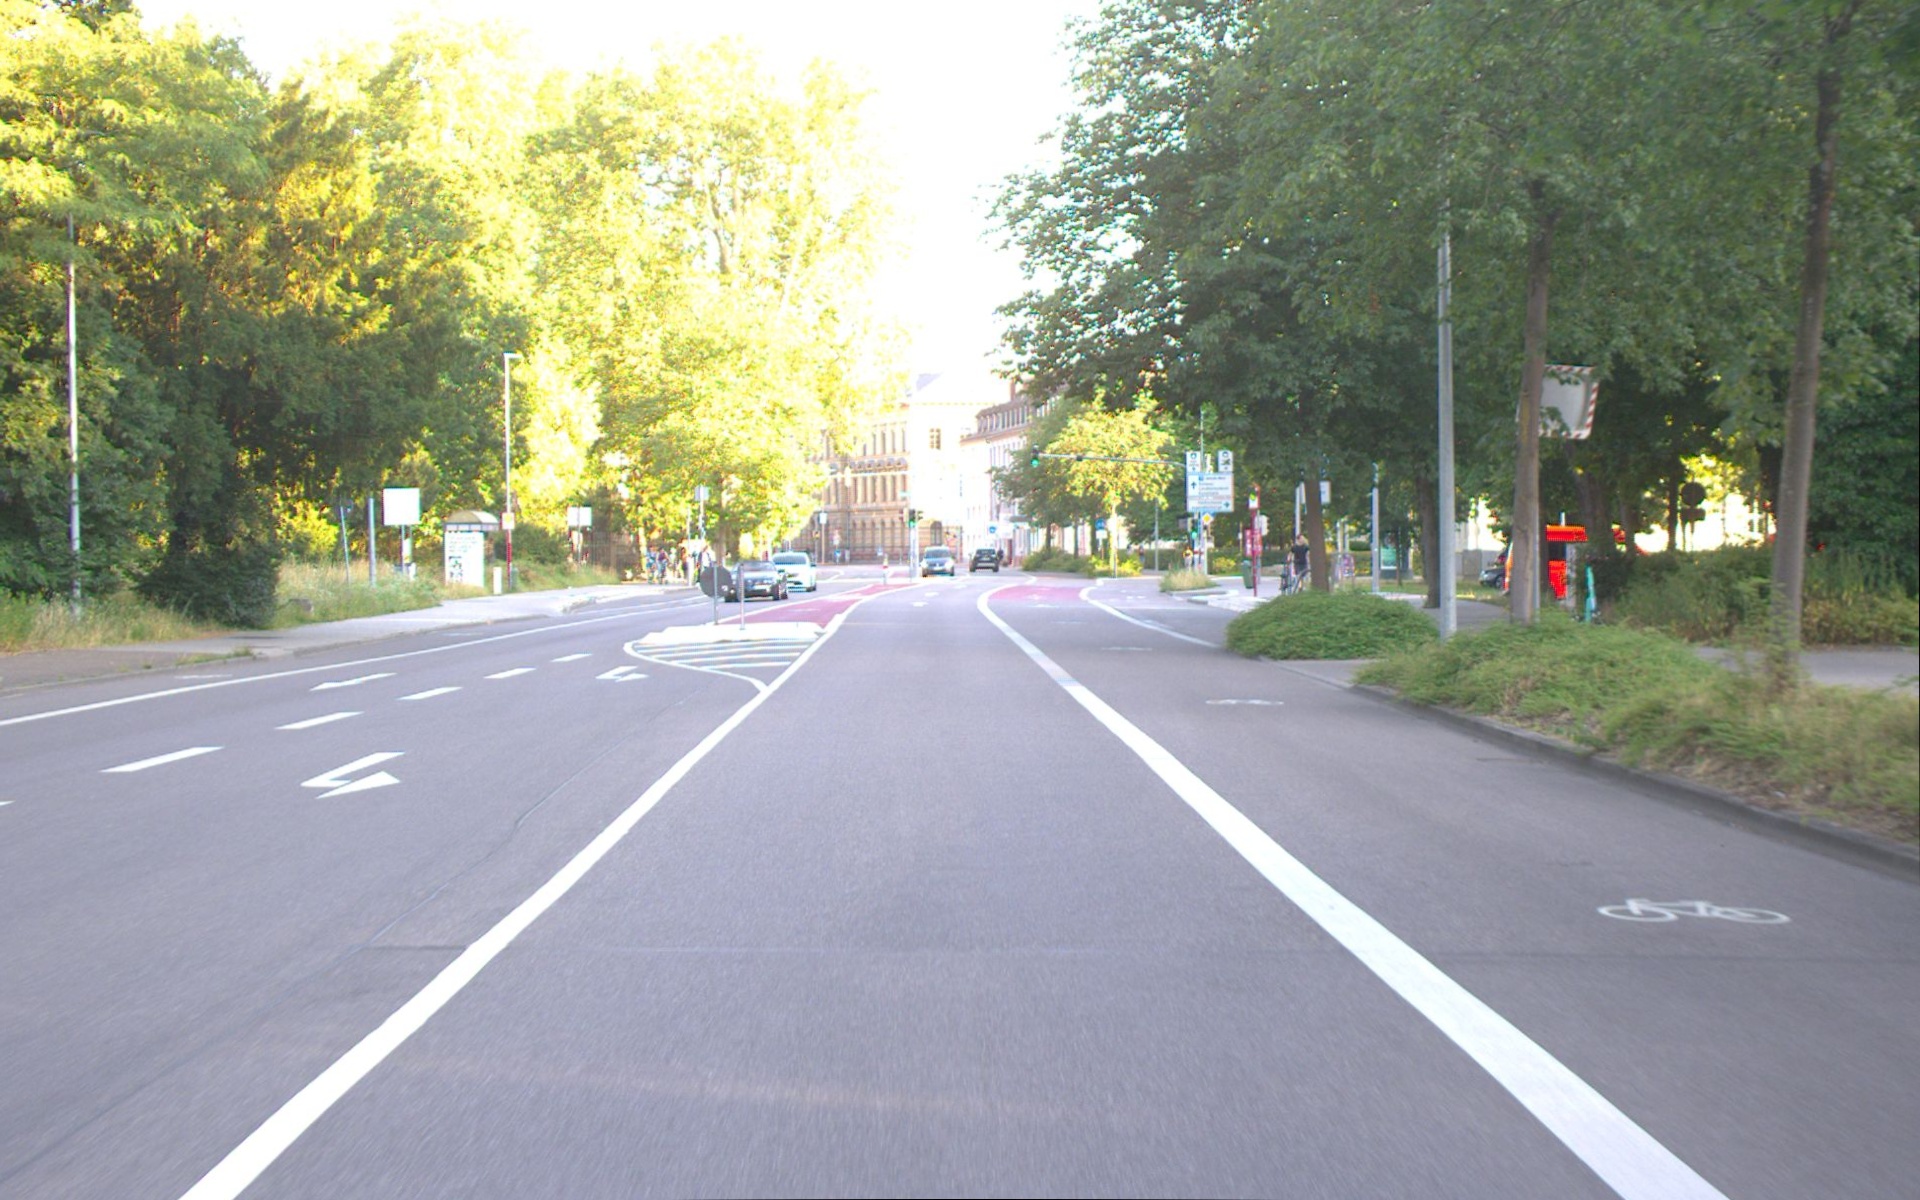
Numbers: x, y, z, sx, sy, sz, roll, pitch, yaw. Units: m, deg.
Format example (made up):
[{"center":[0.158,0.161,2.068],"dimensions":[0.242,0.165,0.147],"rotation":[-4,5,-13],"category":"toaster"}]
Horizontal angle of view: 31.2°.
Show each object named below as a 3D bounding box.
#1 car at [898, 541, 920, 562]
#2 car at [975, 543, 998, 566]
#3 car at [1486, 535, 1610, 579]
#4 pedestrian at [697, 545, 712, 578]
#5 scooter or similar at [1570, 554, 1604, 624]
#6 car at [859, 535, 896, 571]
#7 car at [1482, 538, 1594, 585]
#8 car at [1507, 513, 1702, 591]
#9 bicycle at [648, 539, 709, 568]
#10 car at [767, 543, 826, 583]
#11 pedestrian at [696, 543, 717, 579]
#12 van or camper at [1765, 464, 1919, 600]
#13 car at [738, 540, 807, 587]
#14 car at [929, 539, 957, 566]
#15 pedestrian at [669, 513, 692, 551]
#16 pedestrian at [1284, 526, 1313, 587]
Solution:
[{"center":[-3.668,-3.462,245.823],"dimensions":[1.493,1.481,3.491],"rotation":[0,1,0],"category":"car"},{"center":[1.714,-2.936,222.124],"dimensions":[1.493,1.481,3.491],"rotation":[0,1,0],"category":"car"},{"center":[21.808,-1.585,127.722],"dimensions":[4.460,1.585,1.715],"rotation":[0,1,7],"category":"car"},{"center":[-11.102,-1.674,149.345],"dimensions":[0.579,1.425,0.560],"rotation":[1,1,-9],"category":"pedestrian"},{"center":[9.458,-0.170,51.881],"dimensions":[0.310,1.038,0.980],"rotation":[-1,1,0],"category":"scooter or similar"},{"center":[-3.482,-2.008,145.501],"dimensions":[1.493,1.481,3.491],"rotation":[-1,1,0],"category":"car"},{"center":[20.103,-1.336,119.644],"dimensions":[3.774,1.585,1.715],"rotation":[0,1,7],"category":"car"},{"center":[16.866,-1.265,90.101],"dimensions":[4.912,1.983,1.921],"rotation":[0,1,7],"category":"car"},{"center":[-11.824,-1.954,144.352],"dimensions":[2.463,1.191,0.757],"rotation":[0,1,9],"category":"bicycle"},{"center":[-5.985,-1.362,126.071],"dimensions":[1.798,1.448,4.127],"rotation":[0,1,2],"category":"car"},{"center":[-11.159,-1.735,151.372],"dimensions":[0.791,1.575,0.745],"rotation":[1,1,9],"category":"pedestrian"},{"center":[22.380,-1.710,86.686],"dimensions":[3.439,3.189,8.228],"rotation":[2,1,9],"category":"van or camper"},{"center":[-5.843,-1.155,107.738],"dimensions":[1.798,1.448,4.127],"rotation":[0,1,2],"category":"car"},{"center":[-0.922,-2.661,190.611],"dimensions":[1.493,1.481,3.491],"rotation":[0,1,0],"category":"car"},{"center":[-11.734,-2.841,144.304],"dimensions":[0.791,1.575,0.745],"rotation":[1,1,9],"category":"pedestrian"},{"center":[9.754,-1.253,99.126],"dimensions":[0.769,1.734,0.731],"rotation":[0,1,0],"category":"pedestrian"}]
